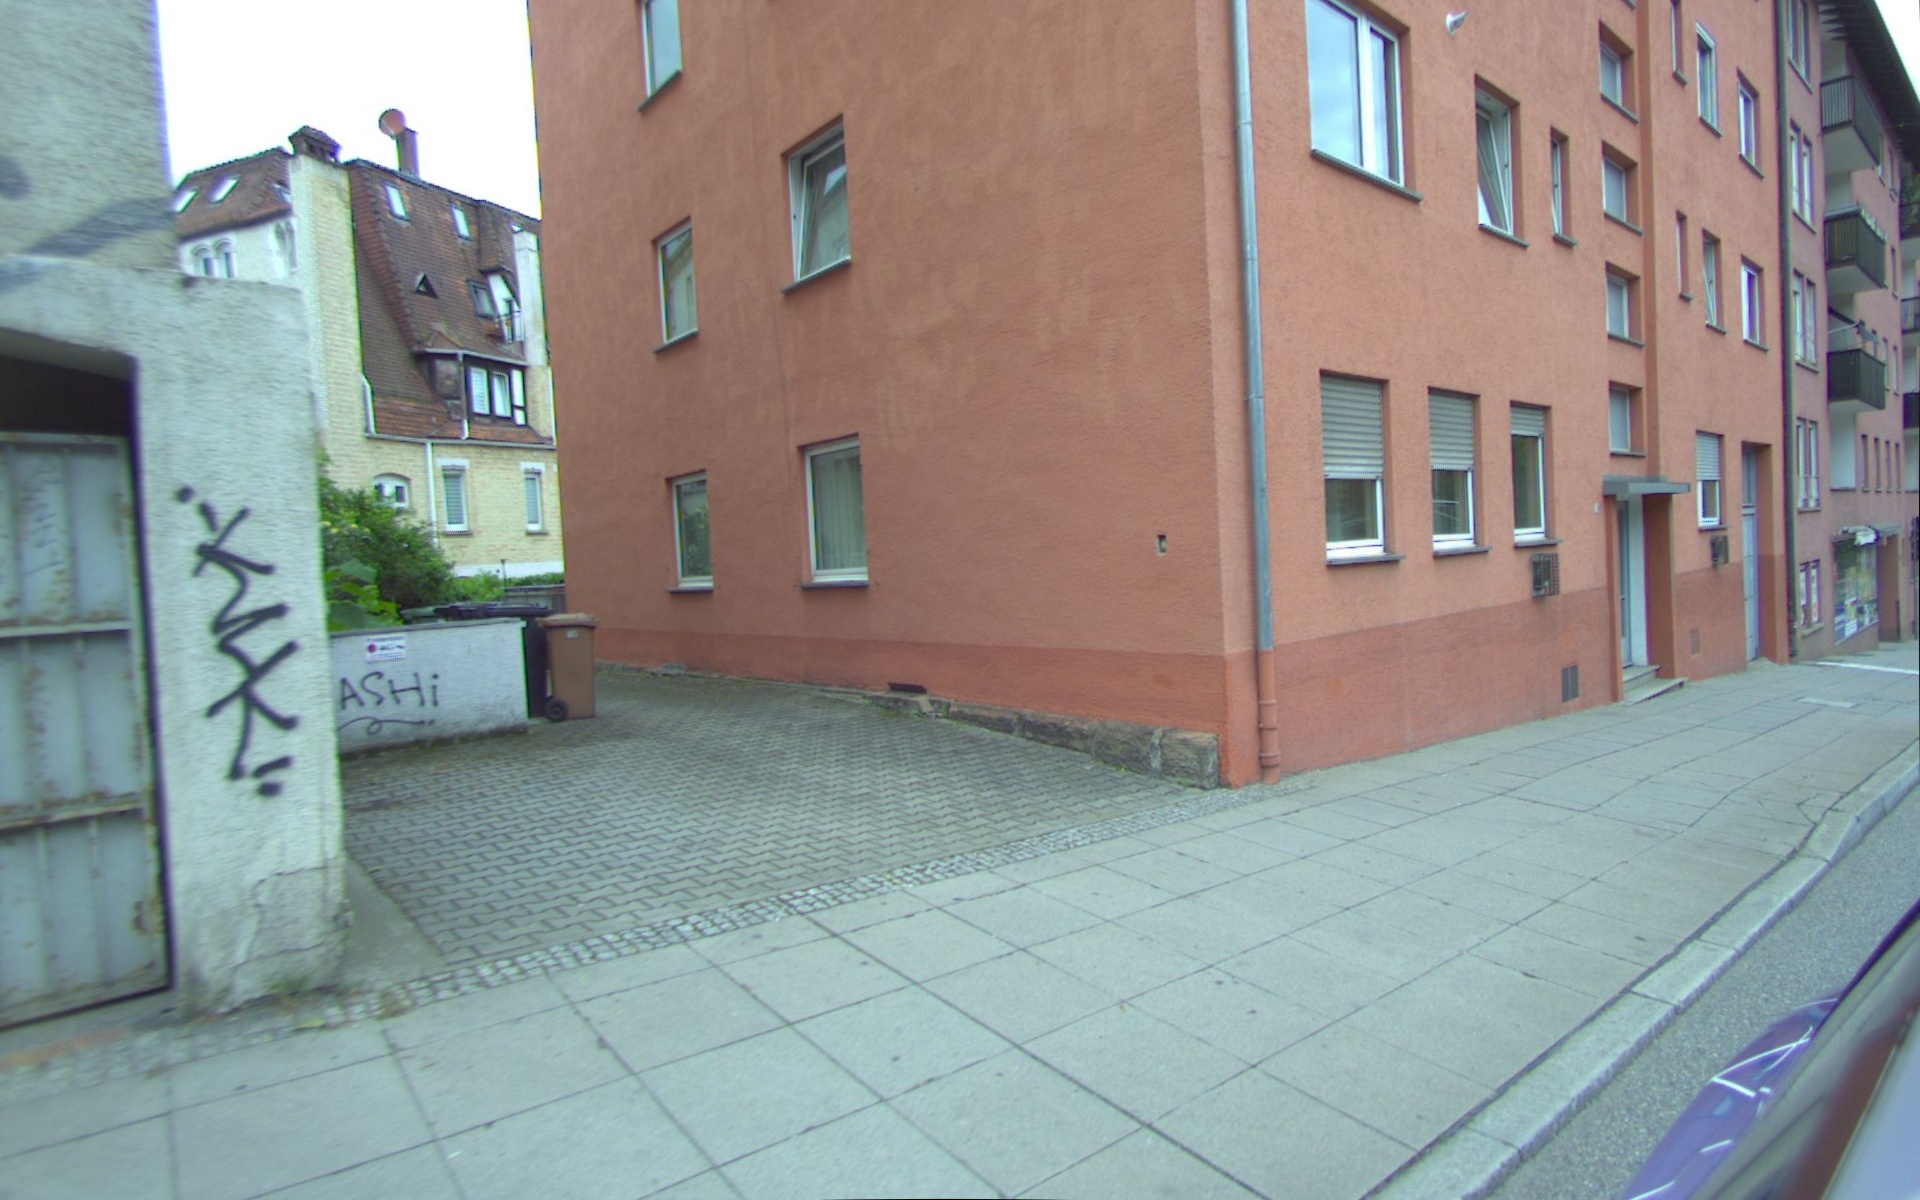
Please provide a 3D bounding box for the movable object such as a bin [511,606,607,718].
[{"bbox_3d":[-3.551,0.526,8.966,0.656,0.934,0.500,0,1,-41],"label":"movable object such as a bin"}]

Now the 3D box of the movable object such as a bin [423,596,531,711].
[{"bbox_3d":[-4.576,0.483,9.599,0.816,1.034,0.500,0,1,-41],"label":"movable object such as a bin"}]

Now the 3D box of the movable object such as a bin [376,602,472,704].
[{"bbox_3d":[-5.771,0.548,10.900,0.816,1.034,0.500,0,1,-41],"label":"movable object such as a bin"}]

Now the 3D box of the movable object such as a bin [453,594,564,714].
[{"bbox_3d":[-4.128,0.471,9.259,0.816,1.034,0.500,0,1,-41],"label":"movable object such as a bin"}]
